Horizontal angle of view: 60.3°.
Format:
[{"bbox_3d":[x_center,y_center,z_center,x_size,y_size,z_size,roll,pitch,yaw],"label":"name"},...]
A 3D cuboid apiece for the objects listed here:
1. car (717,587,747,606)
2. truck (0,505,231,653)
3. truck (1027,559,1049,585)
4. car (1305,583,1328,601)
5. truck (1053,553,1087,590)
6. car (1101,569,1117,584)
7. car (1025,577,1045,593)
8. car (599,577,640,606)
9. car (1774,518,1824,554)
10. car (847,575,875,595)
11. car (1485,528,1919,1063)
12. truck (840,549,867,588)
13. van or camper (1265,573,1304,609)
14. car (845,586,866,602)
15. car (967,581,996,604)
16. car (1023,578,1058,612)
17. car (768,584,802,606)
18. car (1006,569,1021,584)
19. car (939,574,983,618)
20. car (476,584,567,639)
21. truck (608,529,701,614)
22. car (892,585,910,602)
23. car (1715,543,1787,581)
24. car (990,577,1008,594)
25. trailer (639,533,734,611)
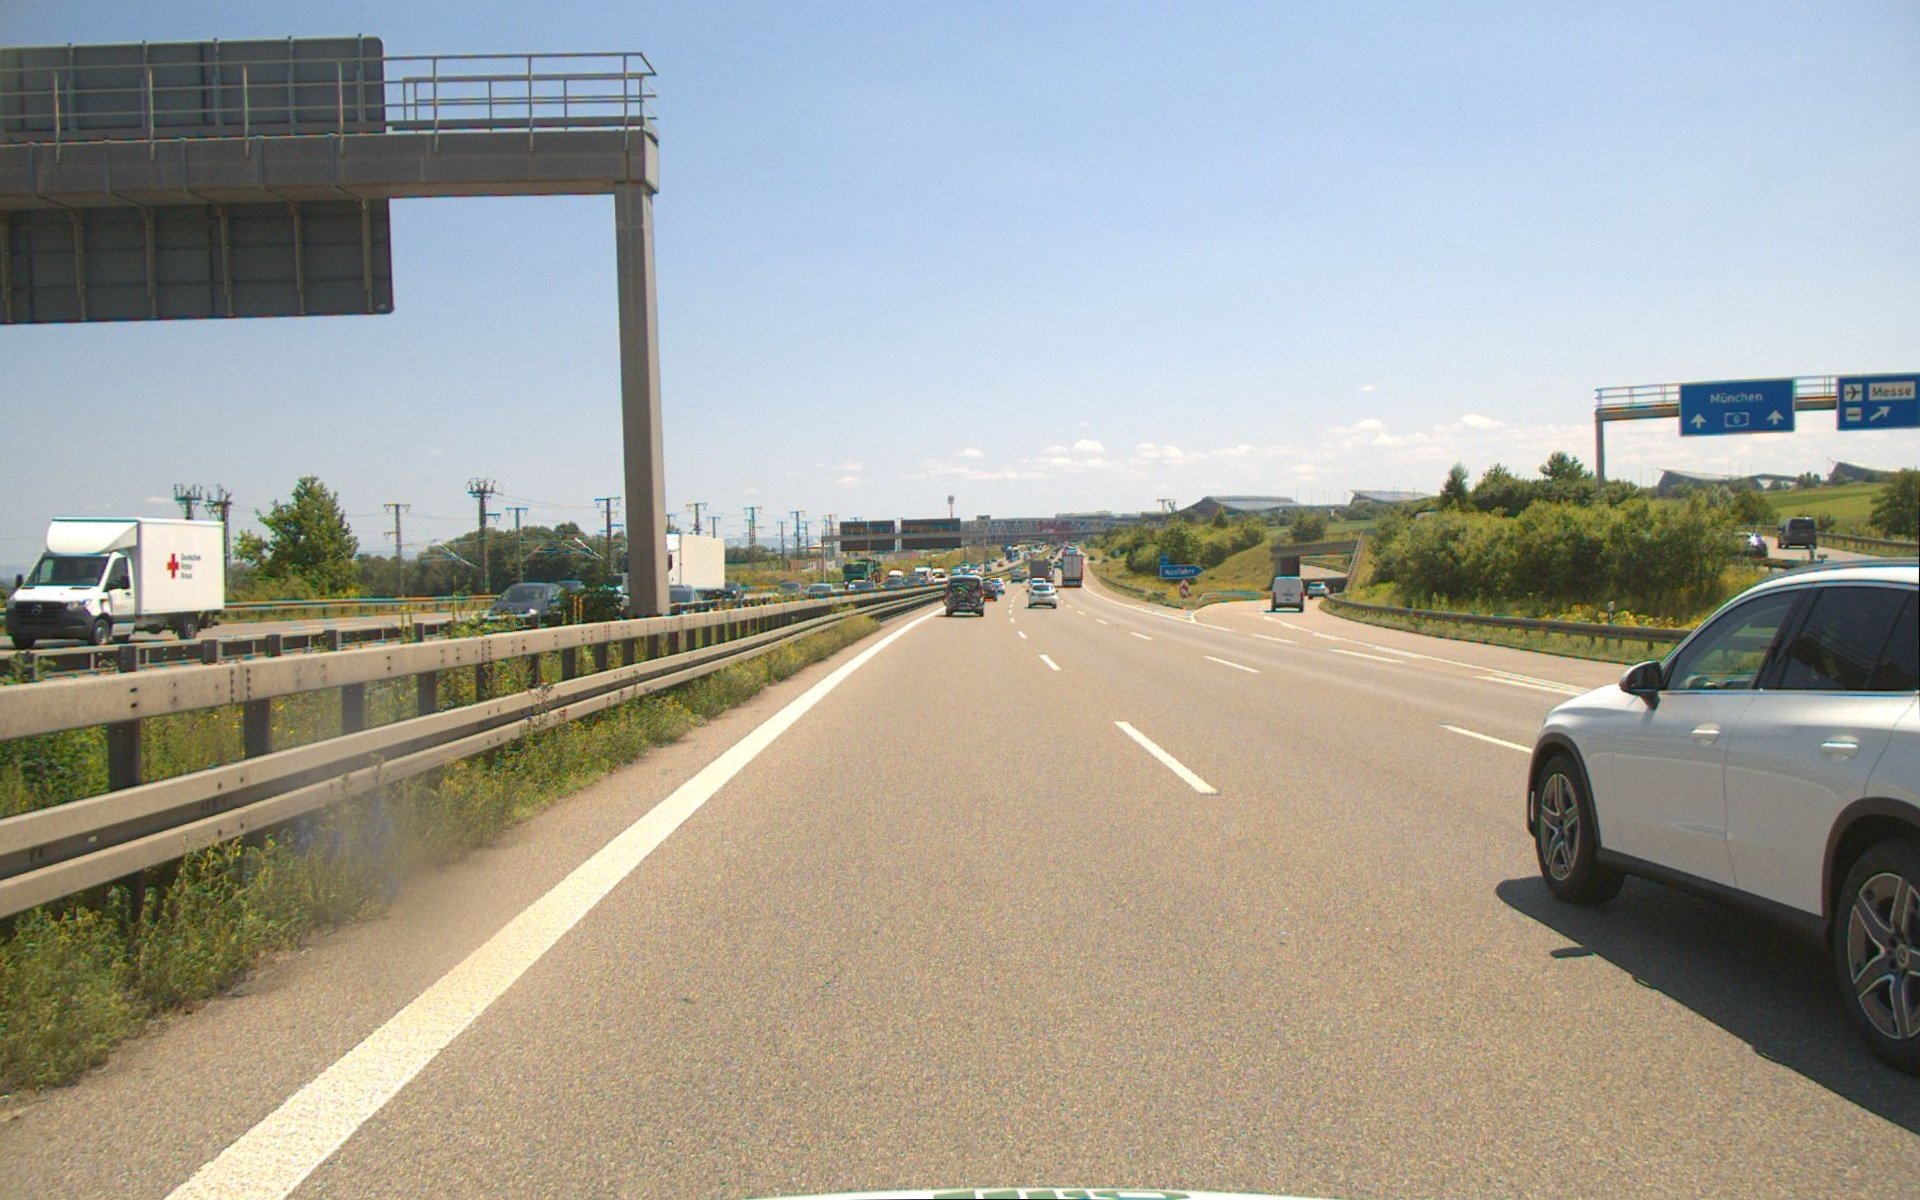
[{"bbox_3d":[-17.971,-0.303,130.469,1.661,1.450,4.455,0,0,1],"label":"car"},{"bbox_3d":[-20.577,-0.503,40.029,2.273,3.222,8.112,0,1,0],"label":"truck"},{"bbox_3d":[9.919,-3.534,211.765,2.646,3.163,10.661,0,0,2],"label":"truck"},{"bbox_3d":[36.375,-0.793,168.567,1.951,1.780,4.002,0,0,17],"label":"car"},{"bbox_3d":[13.855,-3.672,209.518,3.955,4.336,11.763,0,2,2],"label":"truck"},{"bbox_3d":[20.753,-3.273,230.278,1.887,1.952,4.519,0,2,0],"label":"car"},{"bbox_3d":[7.264,-1.489,160.429,1.941,1.499,4.001,0,0,2],"label":"car"},{"bbox_3d":[-22.015,-0.537,107.058,1.767,1.779,4.001,0,0,1],"label":"car"},{"bbox_3d":[49.467,-3.746,97.600,1.898,1.957,4.181,0,0,17],"label":"car"},{"bbox_3d":[-7.596,-1.146,126.889,1.803,1.485,4.997,0,1,1],"label":"car"},{"bbox_3d":[3.915,0.622,6.807,1.859,1.676,4.997,0,0,-1],"label":"car"},{"bbox_3d":[-12.315,-3.564,191.126,2.703,4.319,6.977,0,0,0],"label":"truck"},{"bbox_3d":[18.825,-0.500,96.091,2.110,2.049,4.308,0,0,10],"label":"van or camper"},{"bbox_3d":[-10.047,-0.612,159.319,1.720,1.507,4.635,0,1,1],"label":"car"},{"bbox_3d":[1.593,-0.529,121.843,1.886,1.655,4.520,0,0,4],"label":"car"},{"bbox_3d":[4.726,-0.299,97.817,1.887,1.952,4.517,0,0,0],"label":"car"},{"bbox_3d":[-12.082,-0.390,114.396,1.803,1.485,4.997,0,1,1],"label":"car"},{"bbox_3d":[8.114,-3.594,249.456,2.141,2.037,4.002,0,3,1],"label":"car"},{"bbox_3d":[0.081,-0.180,75.809,1.887,1.952,4.949,0,0,1],"label":"car"},{"bbox_3d":[-13.261,0.308,50.200,1.707,1.588,4.000,0,1,-1],"label":"car"},{"bbox_3d":[-15.935,-1.457,86.910,3.180,4.283,7.696,0,1,2],"label":"truck"},{"bbox_3d":[-6.164,-0.688,172.846,1.720,1.772,4.722,0,0,1],"label":"car"},{"bbox_3d":[35.454,-1.679,74.249,1.951,1.624,4.003,0,0,11],"label":"car"},{"bbox_3d":[3.753,-1.348,158.860,1.543,1.579,3.966,0,0,4],"label":"car"},{"bbox_3d":[-15.607,-1.513,95.409,3.155,4.266,11.413,0,0,2],"label":"trailer"}]
